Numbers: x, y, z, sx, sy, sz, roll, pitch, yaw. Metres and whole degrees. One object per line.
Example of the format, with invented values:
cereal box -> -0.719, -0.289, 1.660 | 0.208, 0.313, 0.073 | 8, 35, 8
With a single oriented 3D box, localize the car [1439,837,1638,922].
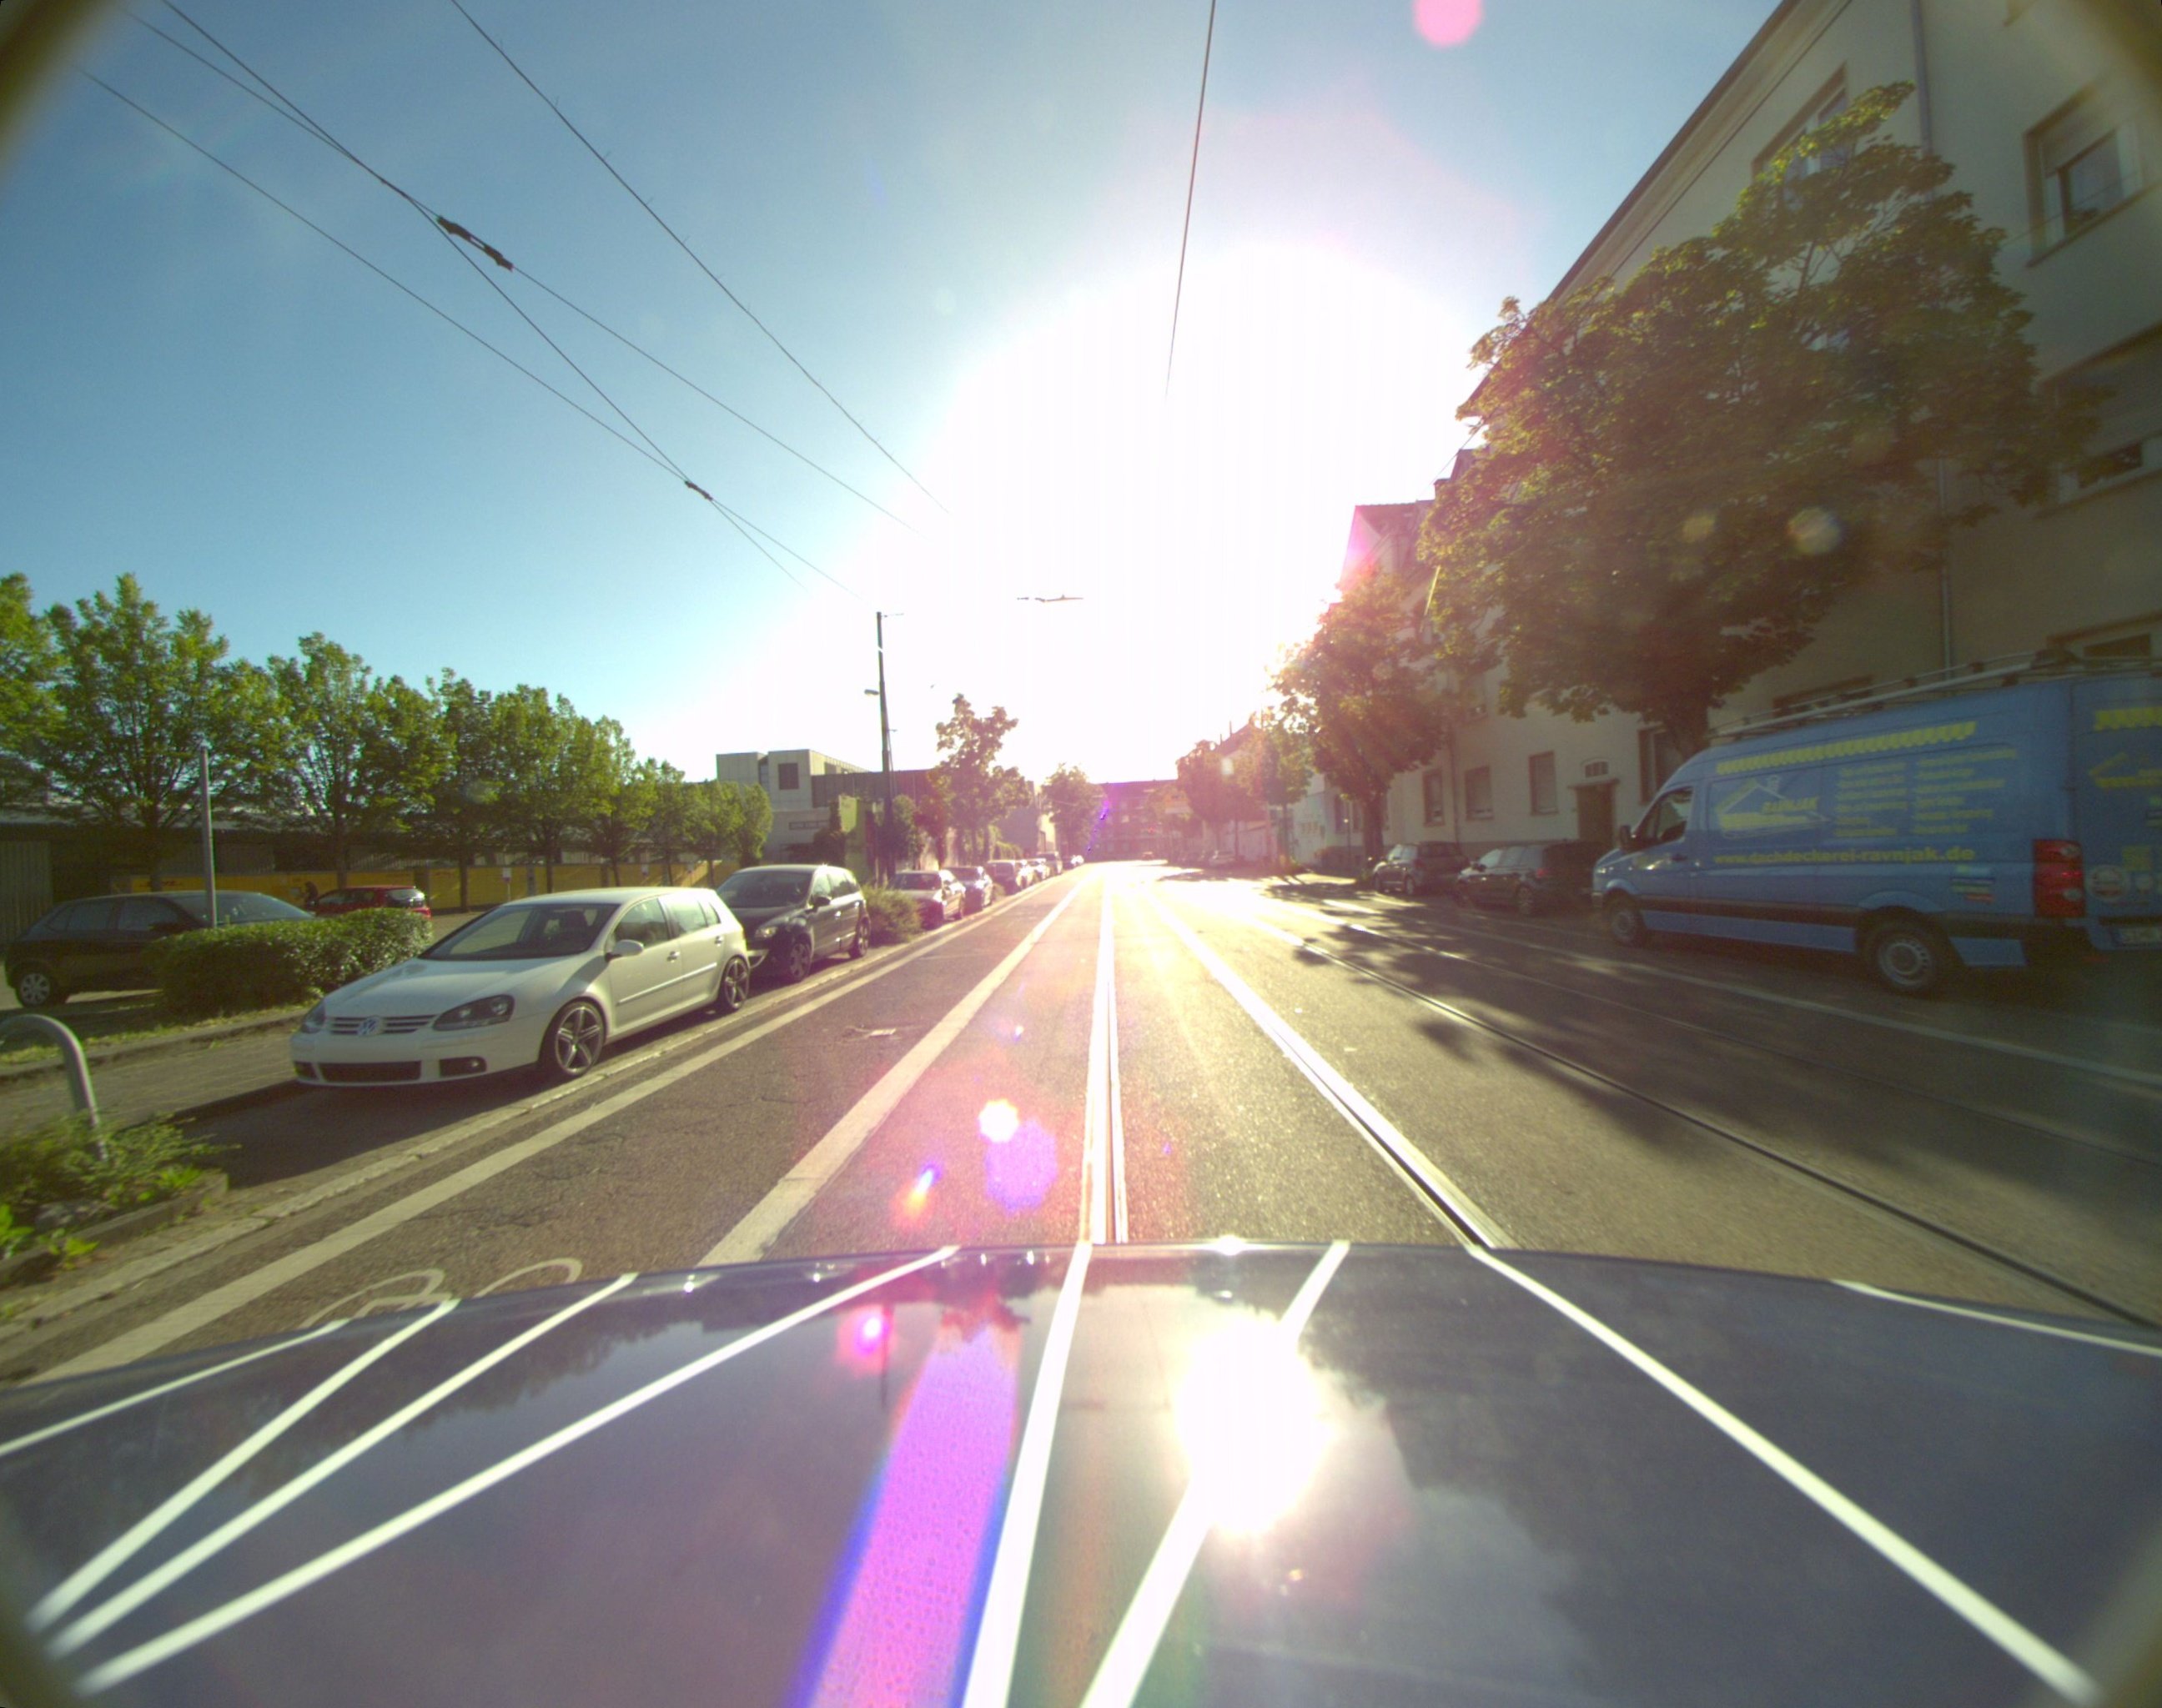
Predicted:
car -> 9.174, 0.428, 15.685 | 1.655, 1.417, 4.189 | -4, 1, 3

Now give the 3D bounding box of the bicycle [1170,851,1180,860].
bicycle -> 13.381, 0.187, 108.531 | 1.344, 1.163, 0.409 | -4, 1, 3

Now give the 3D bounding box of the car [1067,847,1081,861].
car -> -0.945, 0.001, 99.726 | 1.746, 1.702, 4.277 | -4, 1, 0

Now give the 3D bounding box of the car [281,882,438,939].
car -> -22.627, 1.751, 23.908 | 3.319, 1.488, 1.740 | -3, 1, 4

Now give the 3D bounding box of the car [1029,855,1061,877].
car -> -2.760, 0.905, 58.431 | 1.877, 1.464, 4.075 | -4, 1, 4

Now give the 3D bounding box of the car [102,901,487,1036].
car -> -9.025, 1.234, 9.095 | 1.312, 1.027, 3.056 | -4, 1, 1

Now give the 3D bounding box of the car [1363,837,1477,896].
car -> 9.900, 0.298, 22.531 | 1.655, 1.482, 4.000 | -4, 1, 3

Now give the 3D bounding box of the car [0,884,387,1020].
car -> -12.234, 1.289, 10.431 | 3.711, 1.392, 1.759 | -4, 1, 1

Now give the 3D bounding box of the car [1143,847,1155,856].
car -> 11.928, -0.374, 133.496 | 1.770, 1.455, 4.747 | -2, 1, 1

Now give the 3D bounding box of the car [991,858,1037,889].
car -> -3.548, 1.002, 41.078 | 1.828, 1.444, 4.642 | -3, 1, 3

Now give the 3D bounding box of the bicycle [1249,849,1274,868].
bicycle -> 10.961, 0.251, 46.046 | 0.667, 1.034, 1.789 | -3, 1, 40

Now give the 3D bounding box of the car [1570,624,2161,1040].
car -> 8.127, -0.243, 8.145 | 2.022, 2.809, 6.032 | -4, 1, 3

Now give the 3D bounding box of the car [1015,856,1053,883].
car -> -3.012, 0.956, 49.539 | 1.828, 1.476, 4.601 | -4, 1, 3

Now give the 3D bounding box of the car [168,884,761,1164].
car -> -4.769, 1.158, 6.890 | 1.732, 1.503, 4.252 | -2, 1, 2

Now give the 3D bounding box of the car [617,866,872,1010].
car -> -4.689, 1.062, 11.411 | 1.732, 1.595, 4.342 | -1, 1, 2

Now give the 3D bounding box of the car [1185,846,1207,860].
car -> 12.718, -0.142, 84.228 | 1.878, 1.420, 4.293 | -4, 1, 2

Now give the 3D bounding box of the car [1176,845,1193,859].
car -> 12.205, -0.290, 89.984 | 1.575, 1.496, 4.000 | -4, 1, 2

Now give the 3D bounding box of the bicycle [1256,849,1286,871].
bicycle -> 10.594, 0.323, 42.291 | 1.990, 1.034, 0.531 | -5, 1, -43

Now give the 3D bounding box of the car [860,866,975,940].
car -> -4.145, 1.187, 20.056 | 1.732, 1.455, 4.498 | -4, 1, 3

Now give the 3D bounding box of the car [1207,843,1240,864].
car -> 11.461, -0.080, 61.275 | 1.869, 1.482, 4.661 | -4, 1, 2

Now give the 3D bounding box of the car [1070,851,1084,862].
car -> -0.575, 0.359, 107.270 | 1.716, 1.481, 4.624 | -2, 0, 2

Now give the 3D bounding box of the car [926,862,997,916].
car -> -3.978, 1.118, 25.894 | 1.732, 1.455, 4.340 | -4, 1, -2

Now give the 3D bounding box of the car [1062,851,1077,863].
car -> -1.400, 0.345, 93.816 | 1.706, 1.473, 4.658 | -1, 1, 2

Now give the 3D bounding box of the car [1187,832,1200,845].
car -> 14.727, -2.002, 99.484 | 1.358, 1.493, 2.548 | -4, -2, 2

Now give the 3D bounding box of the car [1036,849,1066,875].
car -> -2.477, 0.620, 63.417 | 1.858, 1.980, 5.242 | -3, 1, 4

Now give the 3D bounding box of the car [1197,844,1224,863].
car -> 11.763, -0.062, 69.198 | 1.777, 1.477, 4.305 | -4, 1, 2

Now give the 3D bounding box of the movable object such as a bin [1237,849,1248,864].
movable object such as a bin -> 11.507, 0.183, 54.182 | 0.583, 0.954, 0.702 | -8, 1, 3

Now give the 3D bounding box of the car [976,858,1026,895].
car -> -3.583, 0.986, 34.739 | 1.829, 1.484, 3.814 | -1, 1, 0
